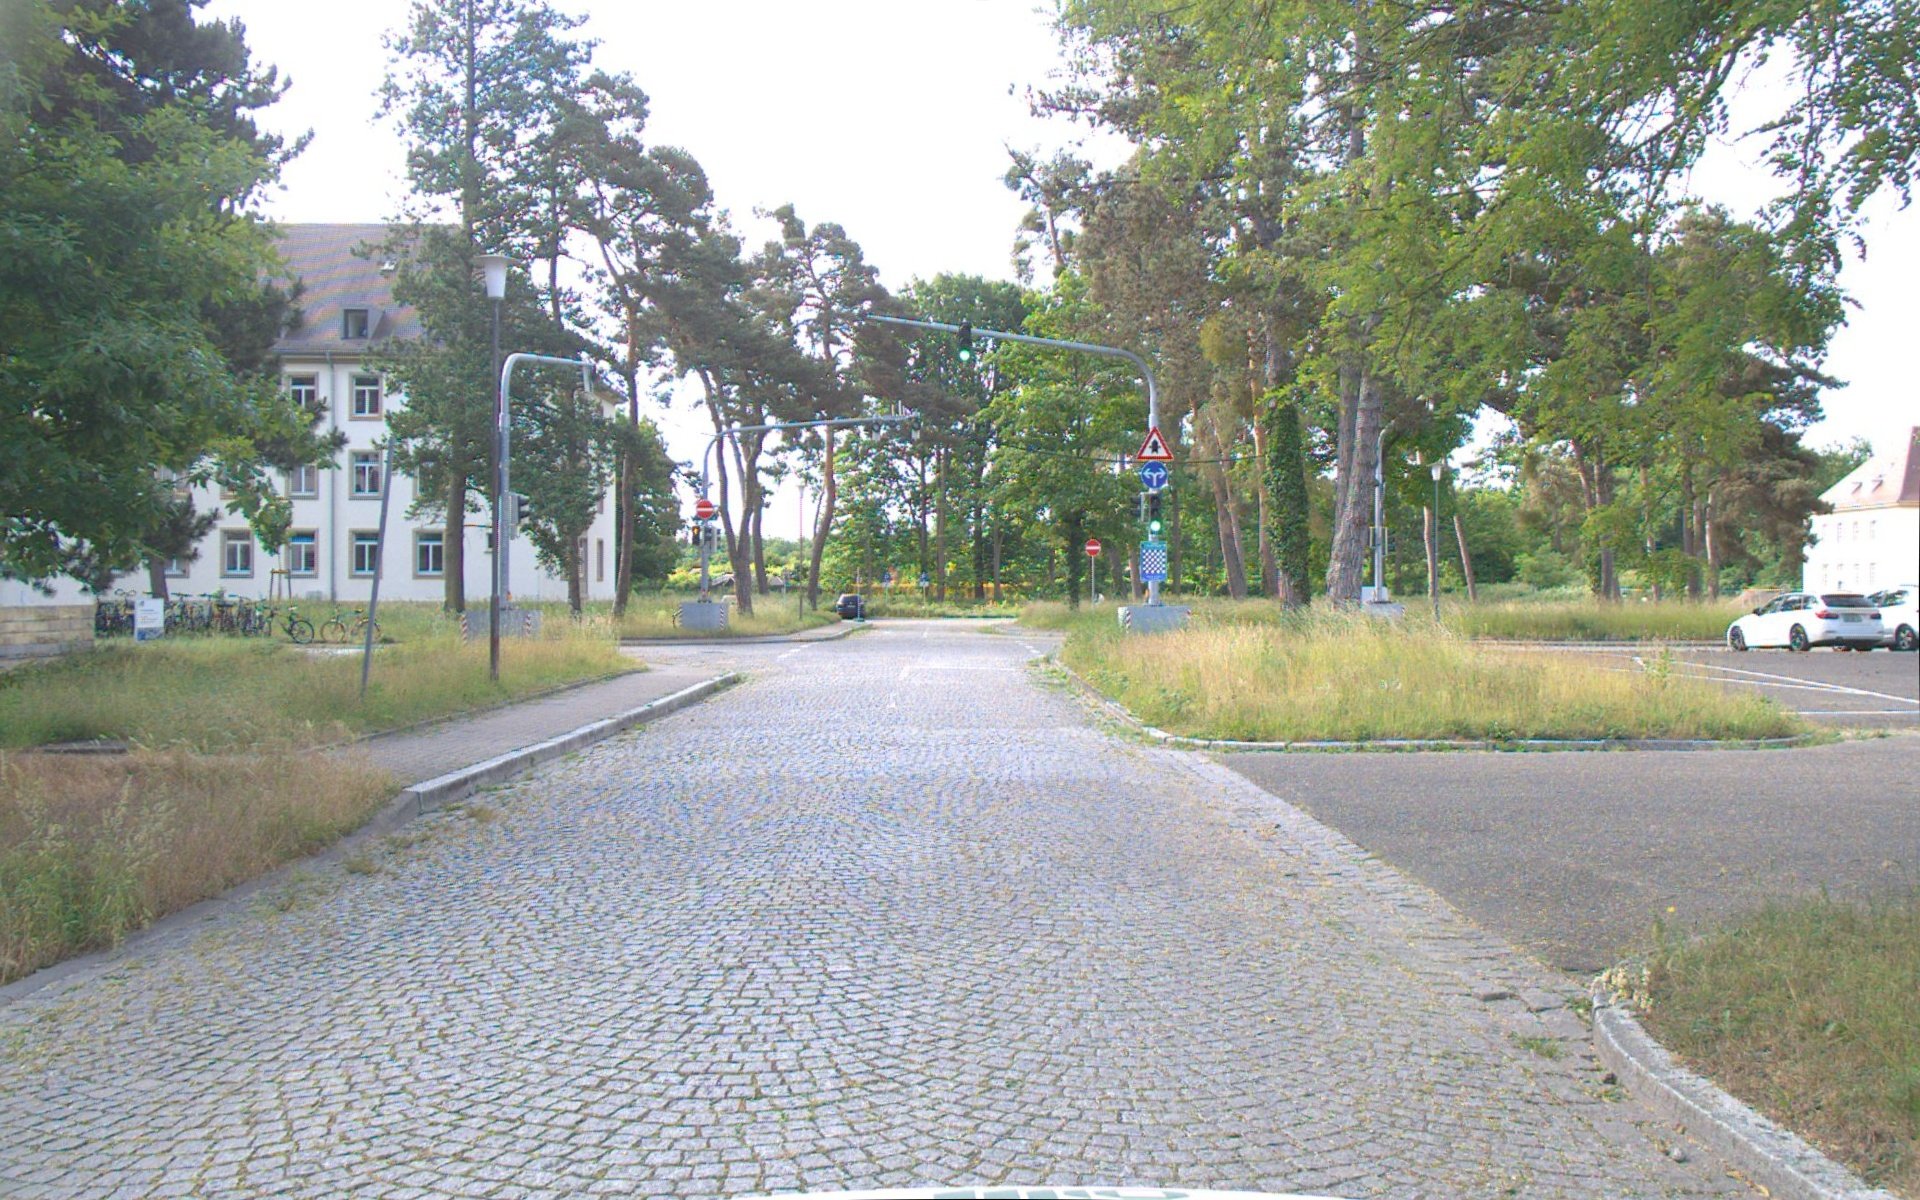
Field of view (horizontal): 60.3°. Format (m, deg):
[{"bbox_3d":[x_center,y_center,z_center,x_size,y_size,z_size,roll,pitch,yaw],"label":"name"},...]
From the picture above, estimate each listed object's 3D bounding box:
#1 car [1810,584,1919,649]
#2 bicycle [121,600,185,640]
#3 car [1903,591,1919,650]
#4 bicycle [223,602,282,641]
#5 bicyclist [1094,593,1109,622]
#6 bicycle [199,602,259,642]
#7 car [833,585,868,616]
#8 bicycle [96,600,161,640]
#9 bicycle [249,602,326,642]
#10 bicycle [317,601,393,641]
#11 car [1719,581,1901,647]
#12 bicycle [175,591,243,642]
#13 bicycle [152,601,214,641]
[{"bbox_3d":[23.185,0.430,40.768,1.954,1.507,4.421,0,-1,-4],"label":"car"},{"bbox_3d":[-22.957,0.565,47.084,0.721,1.095,2.273,0,0,0],"label":"bicycle"},{"bbox_3d":[25.796,0.496,41.107,1.954,1.507,4.421,0,-1,-4],"label":"car"},{"bbox_3d":[-20.180,0.602,47.241,0.721,1.095,2.273,0,0,0],"label":"bicycle"},{"bbox_3d":[8.569,0.456,100.401,0.738,1.700,0.523,2,-1,-21],"label":"bicyclist"},{"bbox_3d":[-20.808,0.609,47.150,0.721,1.095,2.273,0,0,0],"label":"bicycle"},{"bbox_3d":[-6.822,0.038,103.596,2.014,1.878,3.999,0,0,-2],"label":"car"},{"bbox_3d":[-23.677,0.562,47.143,0.721,1.095,2.273,0,0,0],"label":"bicycle"},{"bbox_3d":[-18.703,0.597,46.016,1.818,1.095,0.738,0,0,1],"label":"bicycle"},{"bbox_3d":[-16.852,0.587,46.087,1.818,1.095,0.831,0,0,1],"label":"bicycle"},{"bbox_3d":[20.721,0.368,40.545,1.954,1.507,4.421,0,-1,-4],"label":"car"},{"bbox_3d":[-21.543,0.457,47.493,0.721,1.410,2.711,0,0,0],"label":"bicycle"},{"bbox_3d":[-22.331,0.590,47.588,0.721,1.095,2.273,0,0,0],"label":"bicycle"}]
